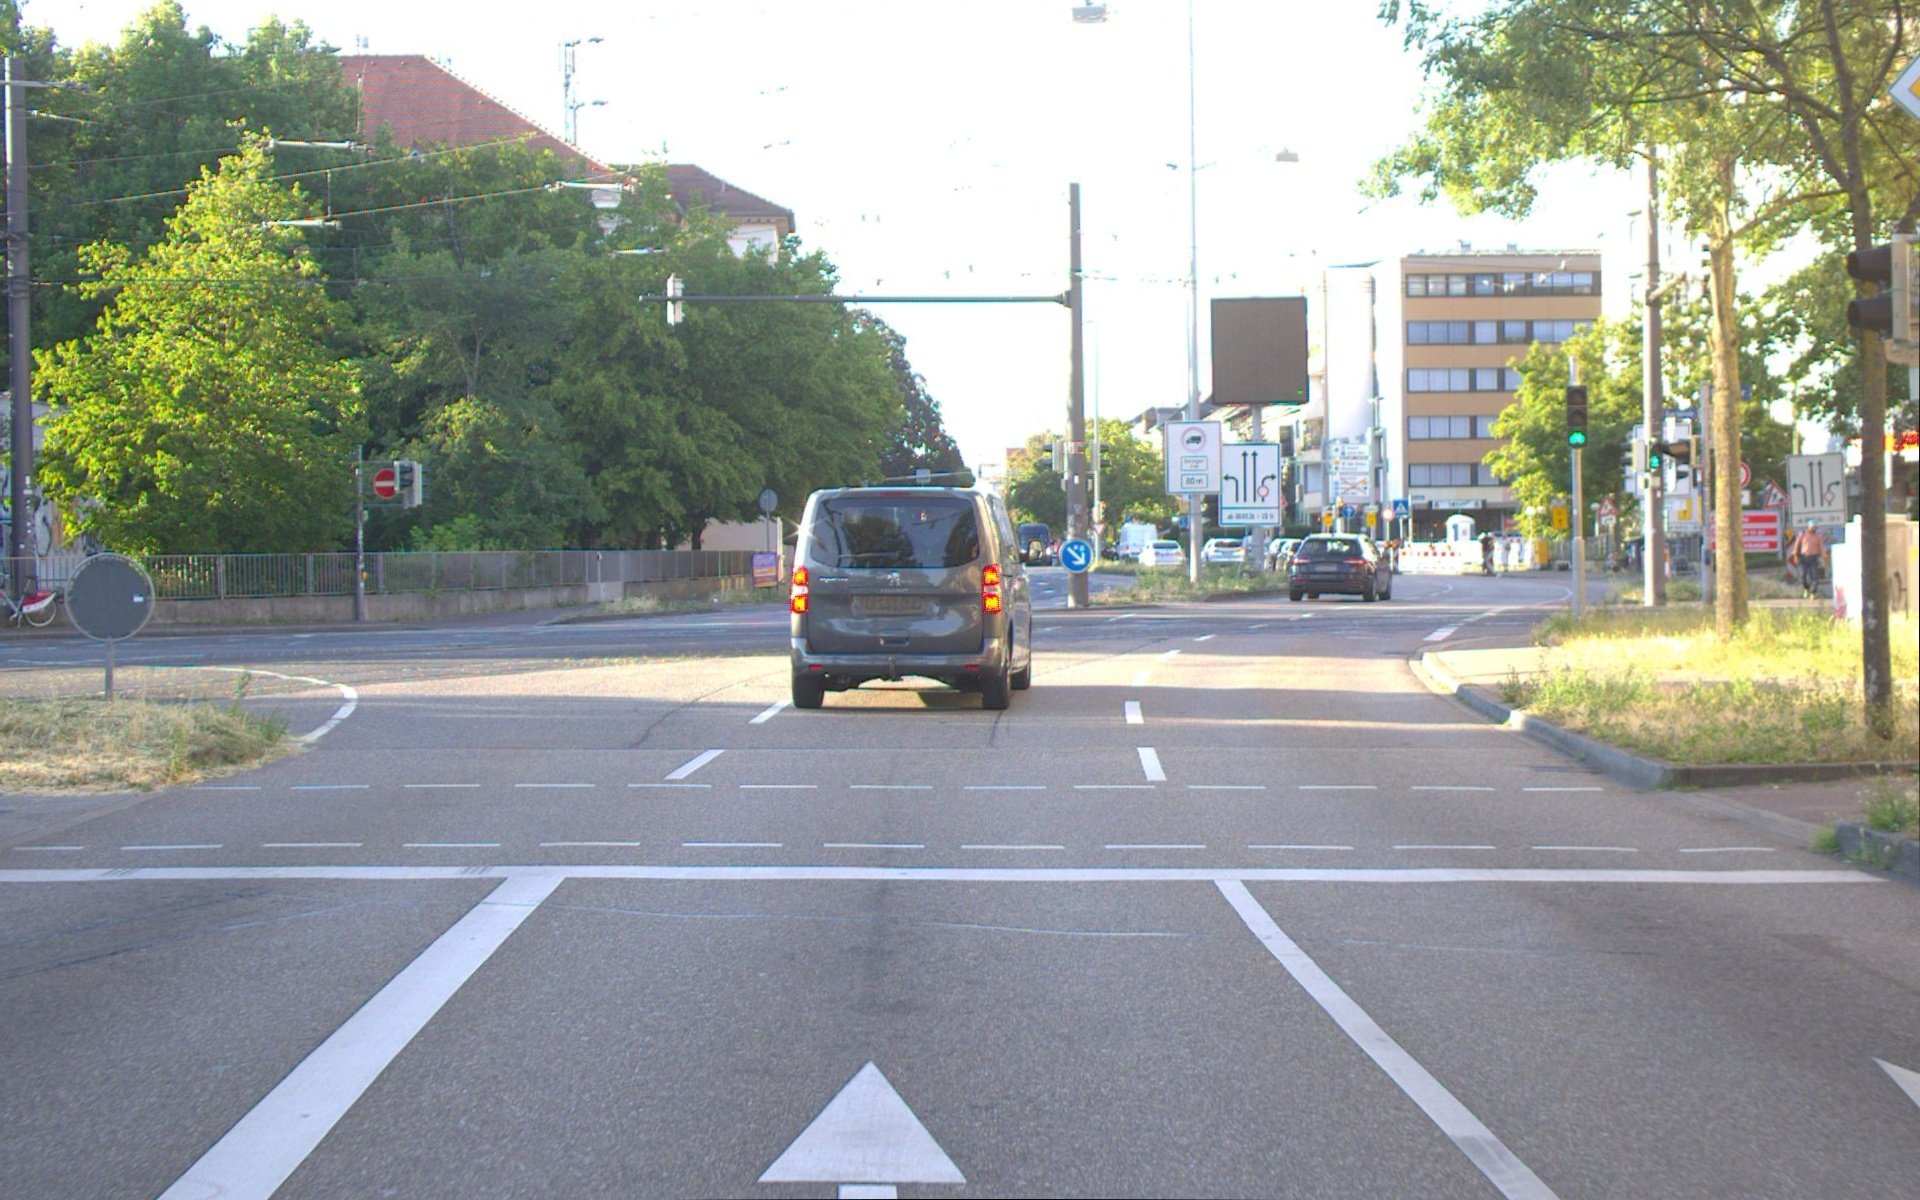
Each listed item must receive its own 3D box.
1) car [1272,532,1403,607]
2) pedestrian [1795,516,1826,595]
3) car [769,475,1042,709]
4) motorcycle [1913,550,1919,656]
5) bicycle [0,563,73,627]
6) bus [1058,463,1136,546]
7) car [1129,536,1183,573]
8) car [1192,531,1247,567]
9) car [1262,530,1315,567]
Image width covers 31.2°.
[{"bbox_3d":[7.985,-0.661,72.497,1.847,1.539,3.627,0,1,21],"label":"car"},{"bbox_3d":[17.550,-0.920,70.950,0.552,1.623,0.699,-1,1,8],"label":"pedestrian"},{"bbox_3d":[-0.406,-0.098,30.538,1.994,1.894,4.298,1,1,4],"label":"car"},{"bbox_3d":[9.702,0.040,33.322,0.604,1.040,1.744,0,1,6],"label":"motorcycle"},{"bbox_3d":[-16.984,-0.094,62.260,1.717,1.138,0.559,-2,2,-43],"label":"bicycle"},{"bbox_3d":[7.789,-5.414,197.089,3.289,4.601,10.002,1,1,-4],"label":"bus"},{"bbox_3d":[9.060,-2.120,159.028,1.993,1.651,4.300,-1,1,-3],"label":"car"},{"bbox_3d":[12.041,-2.374,159.864,1.993,1.651,4.300,-1,1,-3],"label":"car"},{"bbox_3d":[14.789,-2.323,155.151,1.993,1.651,4.299,-1,1,0],"label":"car"}]
